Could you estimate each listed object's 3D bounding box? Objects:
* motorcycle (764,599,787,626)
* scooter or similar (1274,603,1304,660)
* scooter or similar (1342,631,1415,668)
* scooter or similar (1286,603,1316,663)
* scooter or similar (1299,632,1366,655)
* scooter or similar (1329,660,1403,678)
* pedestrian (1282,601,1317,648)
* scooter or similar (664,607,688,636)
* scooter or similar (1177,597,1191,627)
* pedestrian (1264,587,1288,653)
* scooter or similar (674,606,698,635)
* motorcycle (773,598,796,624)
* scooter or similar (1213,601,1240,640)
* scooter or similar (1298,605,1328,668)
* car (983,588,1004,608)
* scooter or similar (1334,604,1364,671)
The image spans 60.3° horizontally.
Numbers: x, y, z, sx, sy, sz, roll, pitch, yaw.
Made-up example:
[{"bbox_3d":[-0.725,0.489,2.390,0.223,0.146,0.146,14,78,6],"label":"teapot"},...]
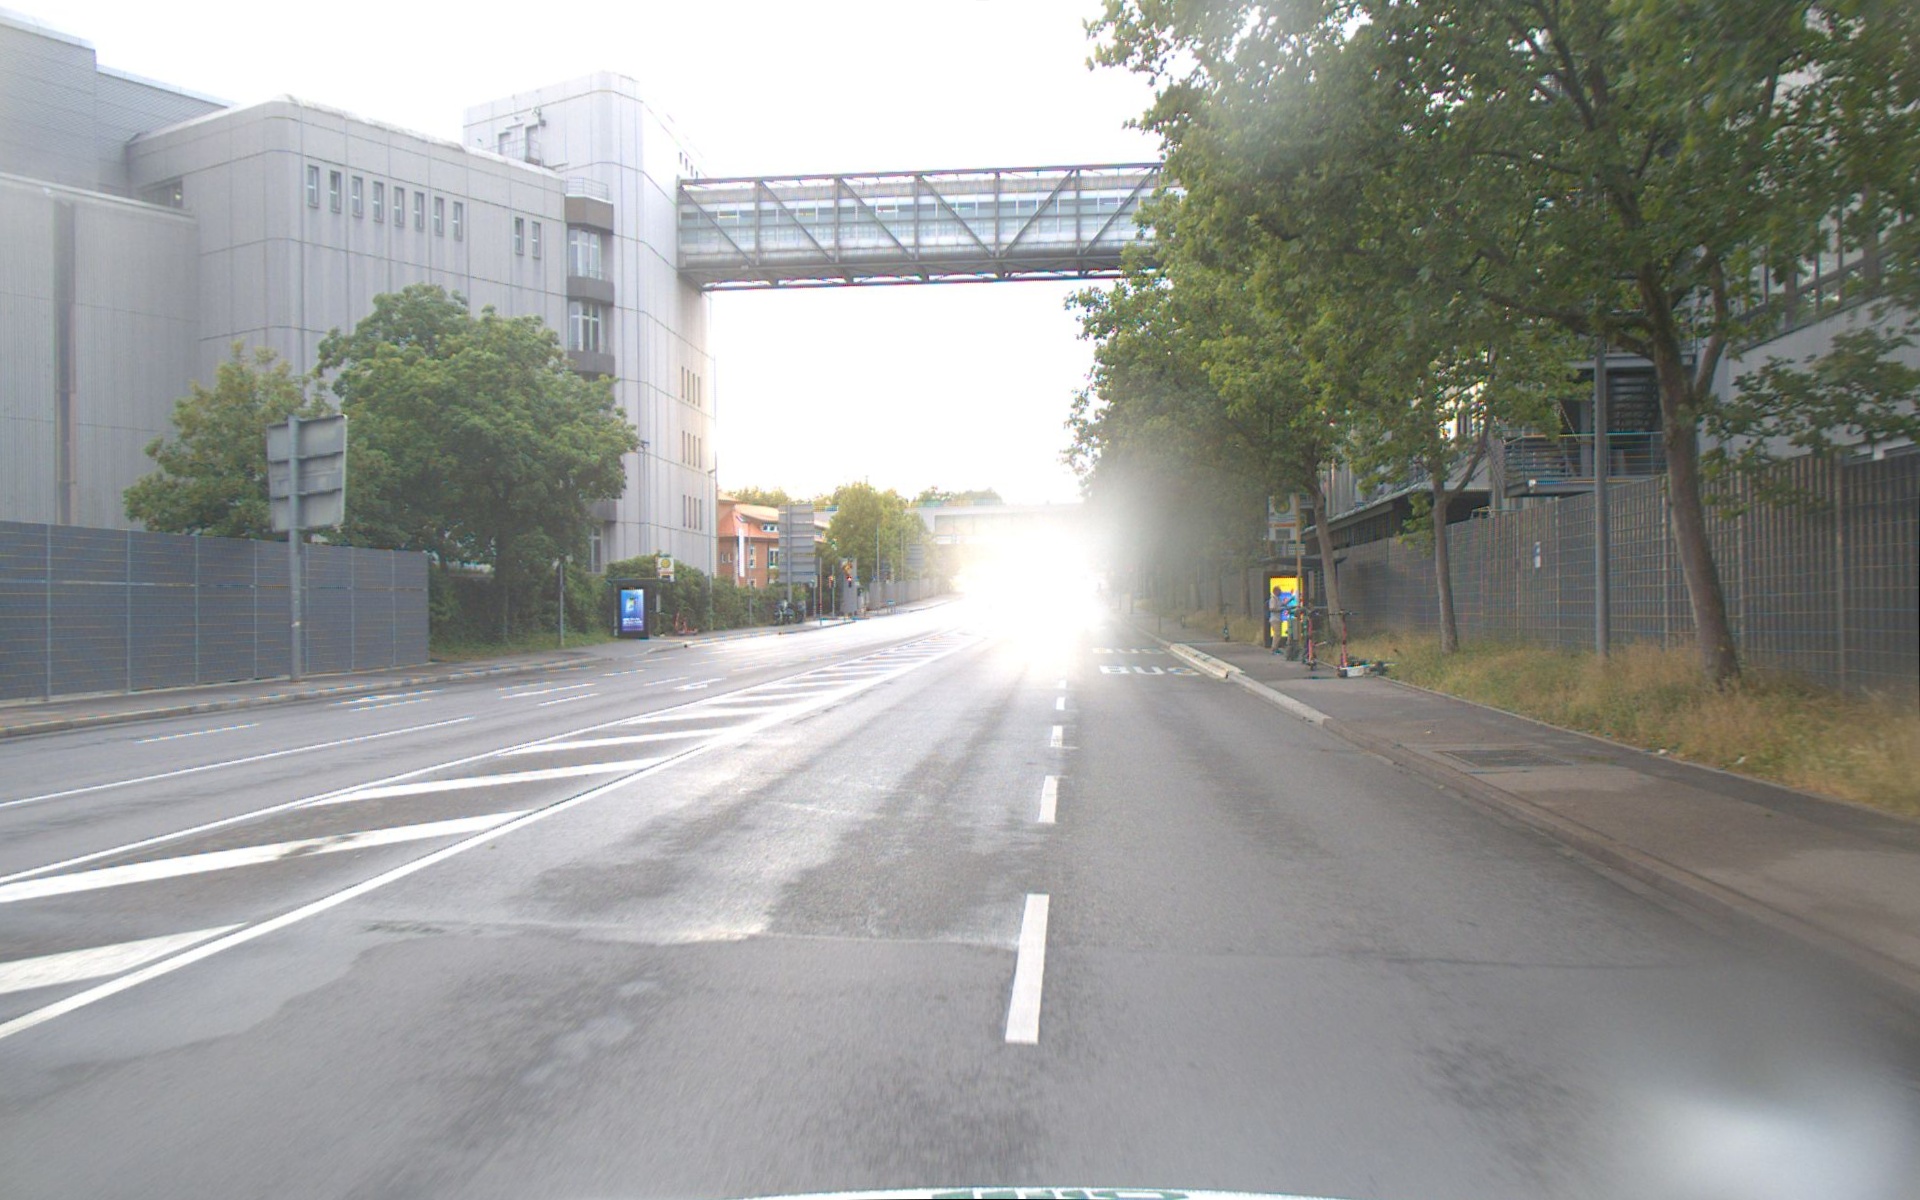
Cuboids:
[{"bbox_3d":[-11.183,0.757,100.279,0.894,1.559,3.300,-1,0,2],"label":"motorcycle"},{"bbox_3d":[7.889,0.738,39.694,0.492,1.315,1.434,-1,0,4],"label":"scooter or similar"},{"bbox_3d":[8.719,1.020,34.476,0.645,0.726,1.511,-1,0,-27],"label":"scooter or similar"},{"bbox_3d":[7.731,0.737,37.558,0.465,1.315,1.434,-1,0,4],"label":"scooter or similar"},{"bbox_3d":[9.195,1.066,40.808,1.529,0.528,0.643,-1,0,21],"label":"scooter or similar"},{"bbox_3d":[7.514,1.271,30.654,0.642,0.251,1.517,-1,0,-18],"label":"scooter or similar"},{"bbox_3d":[9.681,0.698,47.221,0.930,1.340,0.686,-1,0,10],"label":"pedestrian"},{"bbox_3d":[-12.775,0.954,74.342,0.513,1.274,1.801,-1,0,9],"label":"scooter or similar"},{"bbox_3d":[10.516,0.556,77.613,0.596,1.390,1.923,-1,0,9],"label":"scooter or similar"},{"bbox_3d":[8.279,0.523,43.316,0.471,1.696,0.662,-1,0,2],"label":"pedestrian"},{"bbox_3d":[-12.657,0.936,76.511,0.487,1.274,1.923,-1,0,9],"label":"scooter or similar"},{"bbox_3d":[-11.022,0.702,104.018,0.939,1.583,3.300,-1,0,2],"label":"motorcycle"},{"bbox_3d":[8.919,0.664,55.334,0.684,1.266,1.922,-1,0,15],"label":"scooter or similar"},{"bbox_3d":[7.520,0.766,35.258,0.424,1.292,1.194,-1,0,4],"label":"scooter or similar"},{"bbox_3d":[3.129,-0.208,155.940,1.952,1.803,4.000,-1,0,0],"label":"car"},{"bbox_3d":[7.552,0.719,32.130,0.380,1.248,1.074,-1,0,4],"label":"scooter or similar"}]
